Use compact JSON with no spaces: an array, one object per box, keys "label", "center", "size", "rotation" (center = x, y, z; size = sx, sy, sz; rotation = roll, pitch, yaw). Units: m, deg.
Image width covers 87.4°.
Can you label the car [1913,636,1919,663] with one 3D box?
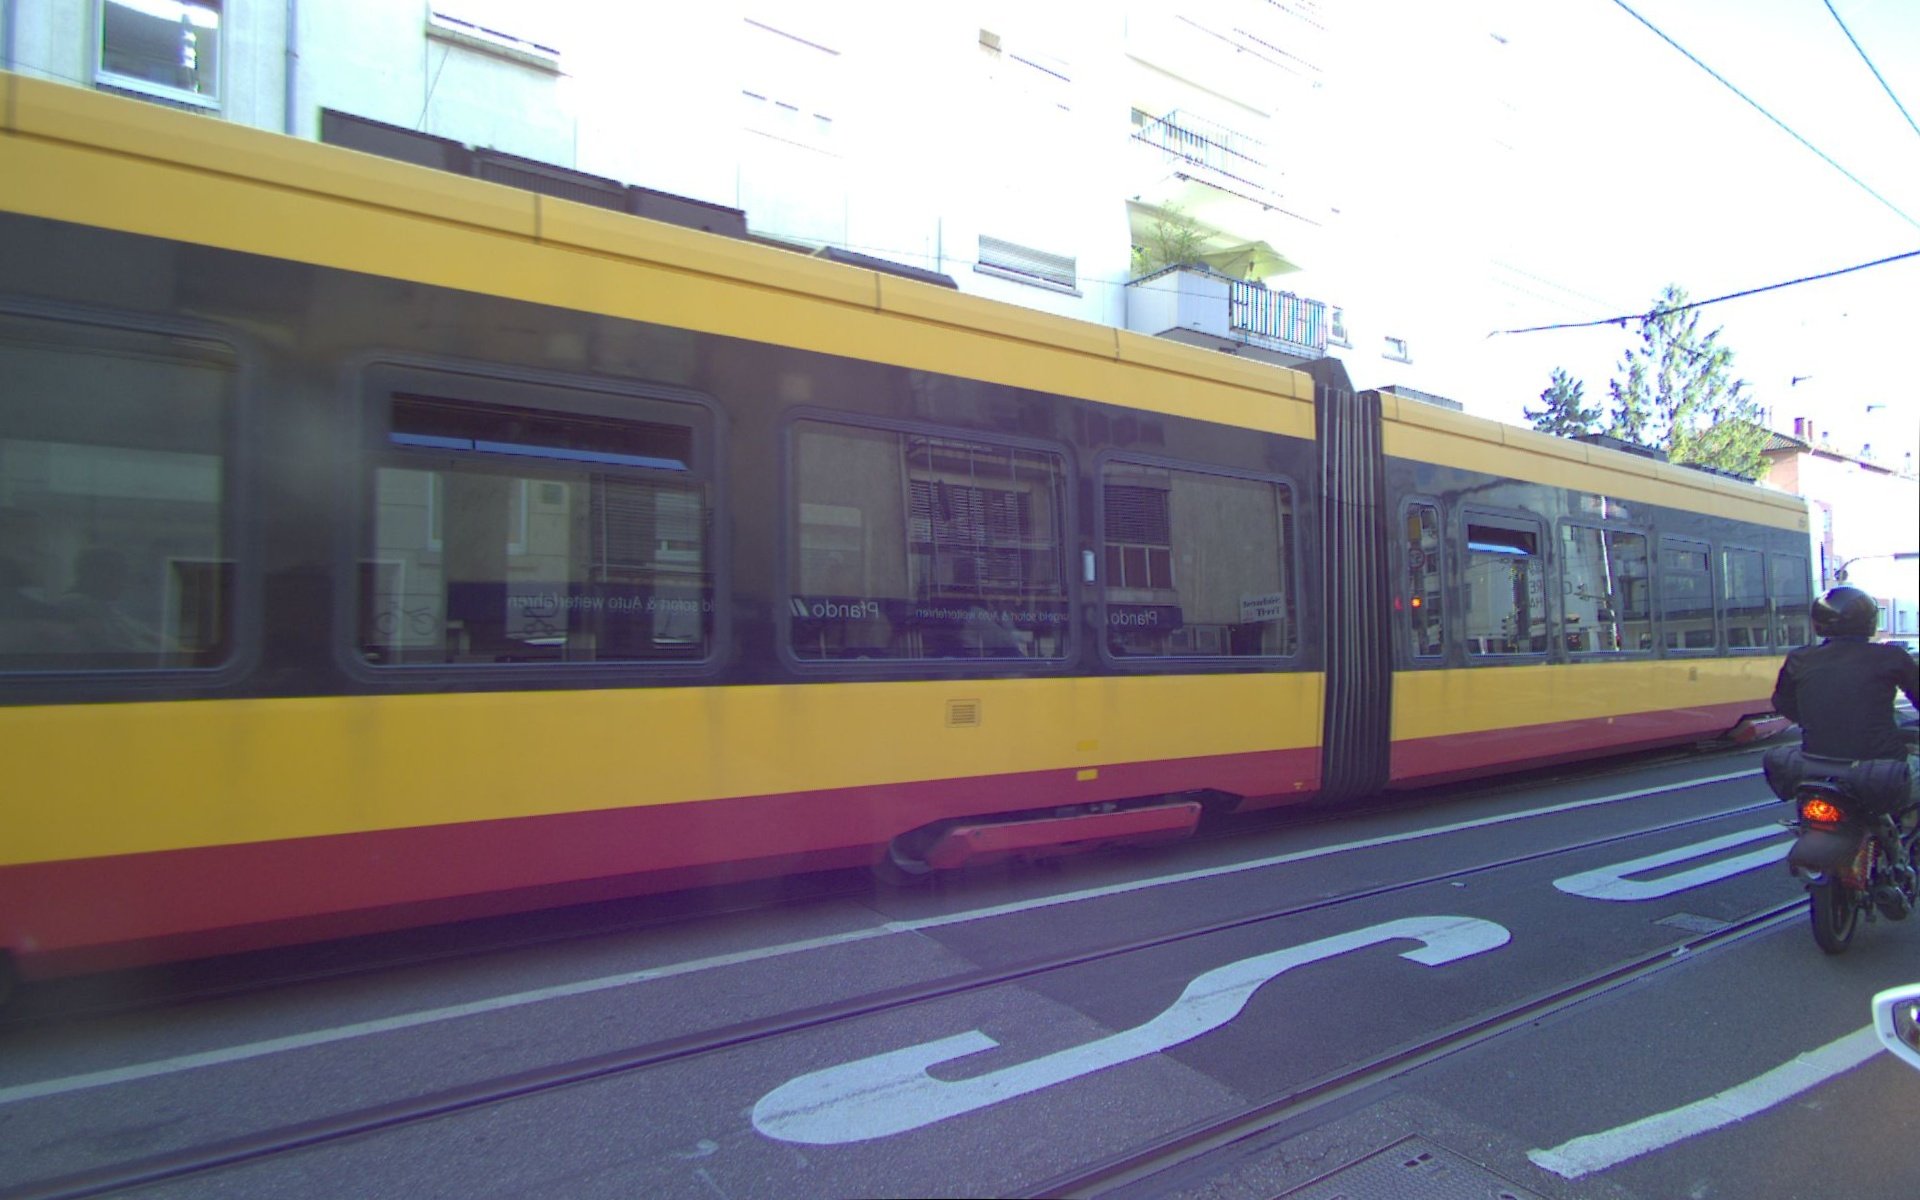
[{"label":"car","center":[58.230,2.960,59.312],"size":[4.103,1.531,1.778],"rotation":[2,0,-31]}]

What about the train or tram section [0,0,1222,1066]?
[{"label":"train or tram section","center":[-2.943,-0.369,4.845],"size":[8.987,3.679,2.808],"rotation":[2,0,-33]}]

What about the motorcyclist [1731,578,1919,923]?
[{"label":"motorcyclist","center":[4.374,0.670,4.844],"size":[0.591,1.525,0.856],"rotation":[2,0,-30]}]

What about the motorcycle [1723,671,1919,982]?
[{"label":"motorcycle","center":[4.504,0.988,4.887],"size":[1.958,1.235,0.534],"rotation":[2,0,-31]}]

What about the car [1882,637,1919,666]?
[{"label":"car","center":[53.361,2.885,55.951],"size":[4.250,1.518,1.806],"rotation":[2,0,-30]}]

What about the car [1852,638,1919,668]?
[{"label":"car","center":[49.573,2.829,53.658],"size":[3.949,1.440,1.784],"rotation":[2,0,-31]}]

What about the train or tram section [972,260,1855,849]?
[{"label":"train or tram section","center":[6.610,-0.108,11.603],"size":[14.130,3.680,2.725],"rotation":[2,0,-37]}]
